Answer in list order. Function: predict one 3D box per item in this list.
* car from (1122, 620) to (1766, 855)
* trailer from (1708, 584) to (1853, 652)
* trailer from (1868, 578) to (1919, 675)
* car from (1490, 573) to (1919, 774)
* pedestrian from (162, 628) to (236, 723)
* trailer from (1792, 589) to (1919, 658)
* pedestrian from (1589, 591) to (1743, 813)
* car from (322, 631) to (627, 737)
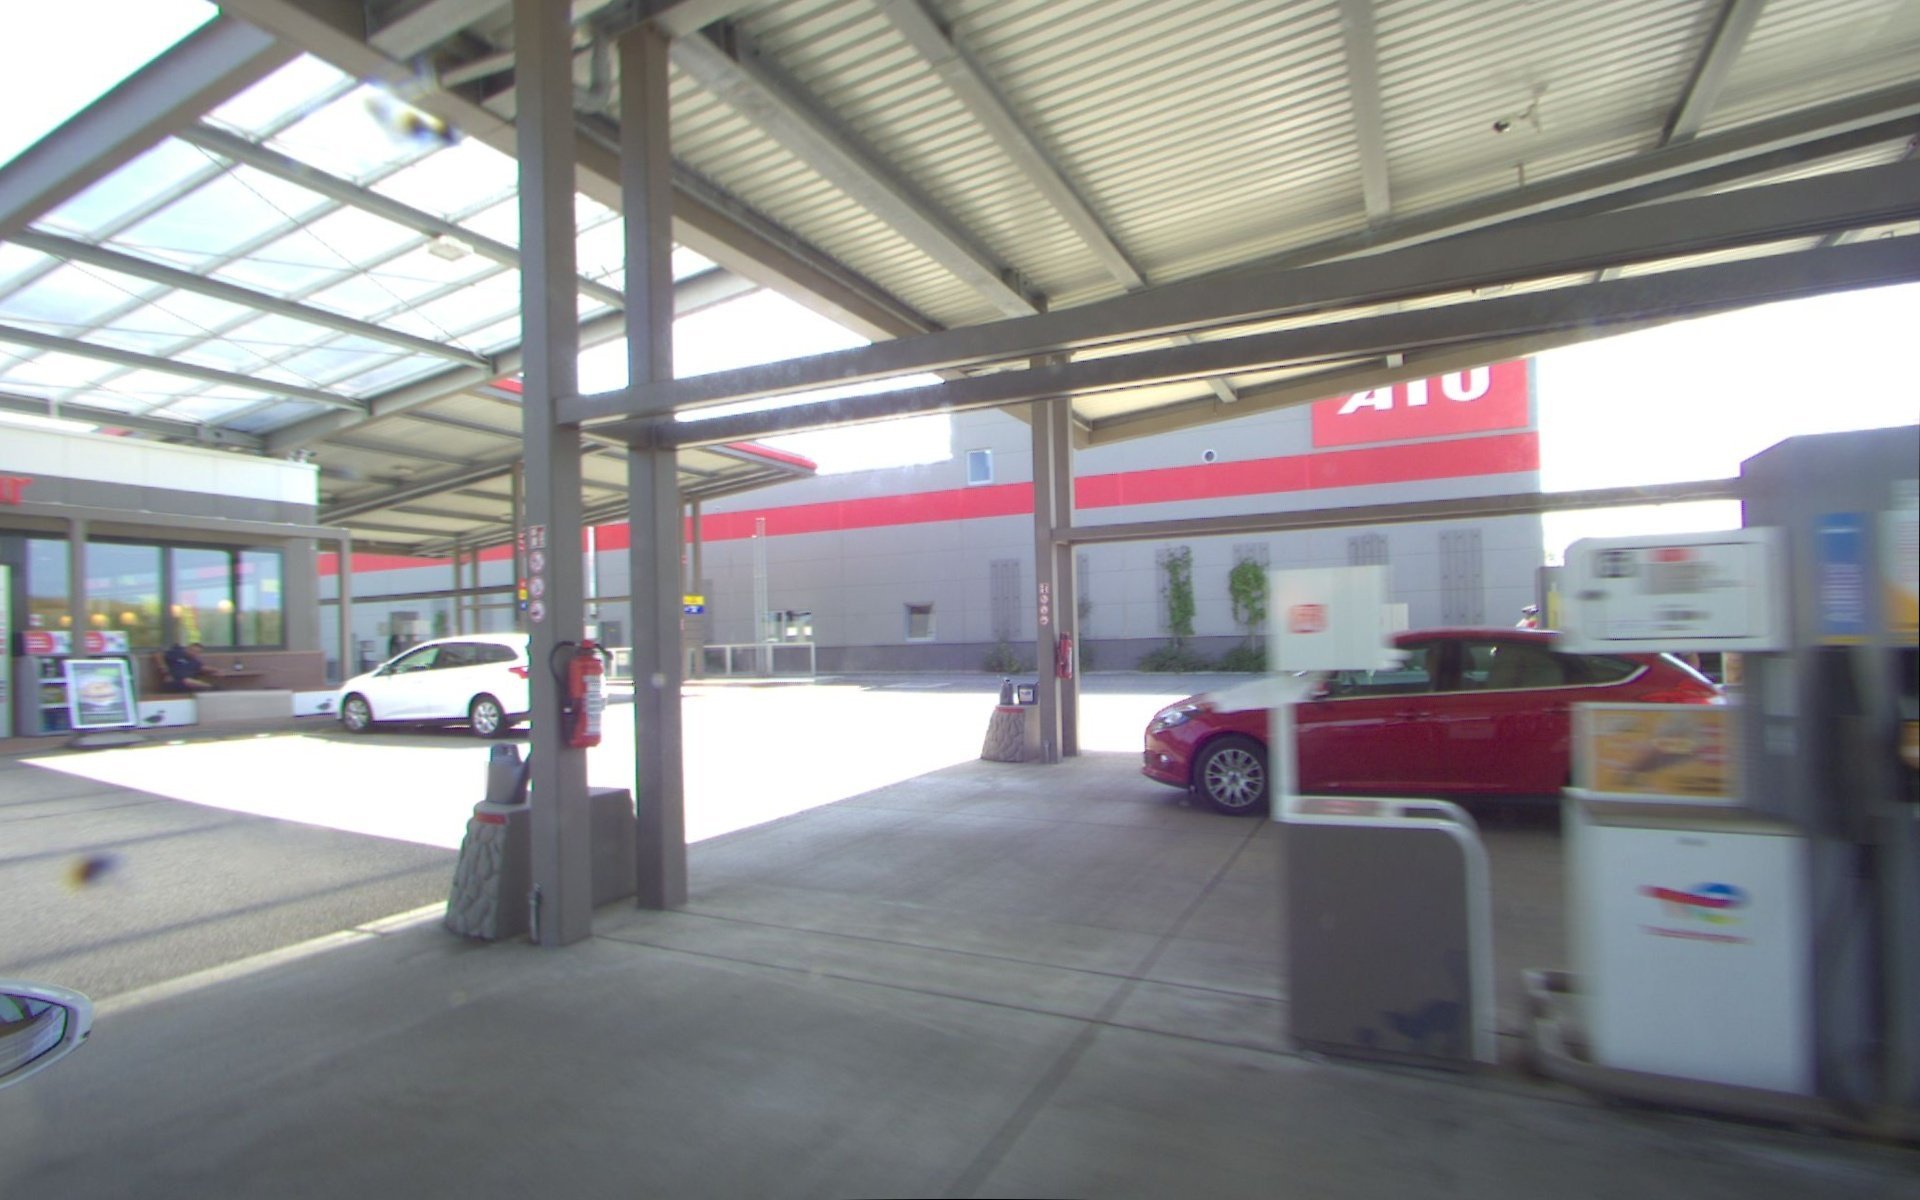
[{"bbox_3d":[3.564,0.940,8.013,4.164,1.487,1.699,-2,-1,25],"label":"car"},{"bbox_3d":[31.412,0.702,38.412,3.922,2.458,2.000,-1,-1,-2],"label":"trailer"},{"bbox_3d":[26.273,0.655,26.047,3.926,2.458,1.998,-1,-1,-12],"label":"trailer"},{"bbox_3d":[8.398,0.712,10.706,4.720,1.875,2.028,-1,-1,26],"label":"car"},{"bbox_3d":[-11.949,1.168,15.736,0.662,1.450,0.701,-1,-1,24],"label":"pedestrian"},{"bbox_3d":[28.507,0.710,31.003,3.922,2.039,1.803,-1,-1,1],"label":"trailer"},{"bbox_3d":[5.819,0.814,8.314,0.913,1.724,0.701,-1,-1,26],"label":"pedestrian"},{"bbox_3d":[-7.537,1.248,15.584,4.245,1.475,1.833,-1,-1,20],"label":"car"}]
